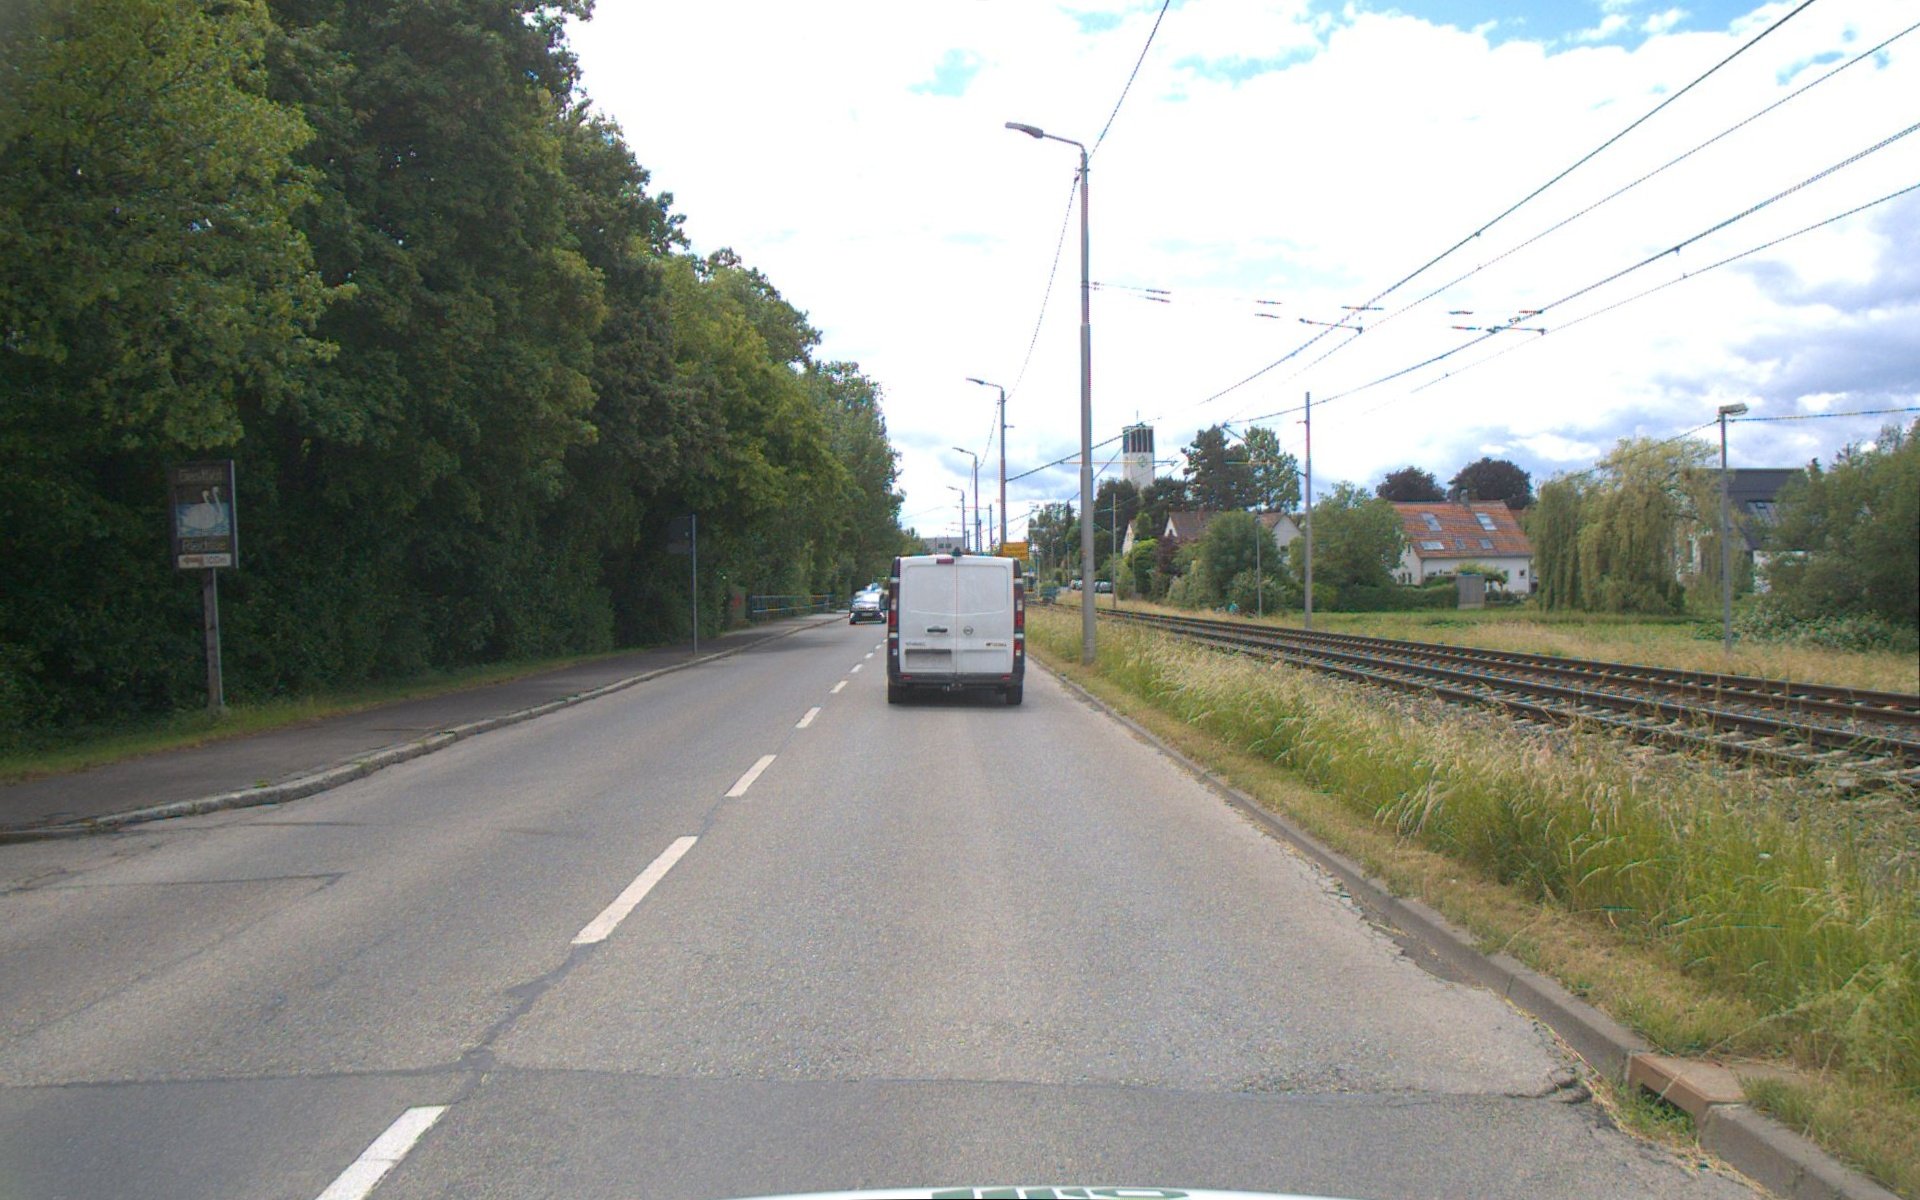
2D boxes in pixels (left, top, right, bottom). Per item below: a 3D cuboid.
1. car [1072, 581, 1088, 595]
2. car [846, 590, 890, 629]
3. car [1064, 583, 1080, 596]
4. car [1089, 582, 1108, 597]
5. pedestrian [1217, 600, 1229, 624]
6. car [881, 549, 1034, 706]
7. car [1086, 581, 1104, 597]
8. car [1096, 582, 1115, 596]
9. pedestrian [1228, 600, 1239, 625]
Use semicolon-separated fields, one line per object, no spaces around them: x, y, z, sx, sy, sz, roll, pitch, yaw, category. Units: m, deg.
18.113;-1.789;249.830;1.953;1.848;3.998;1;-1;-2;car
-4.233;0.431;76.320;1.953;1.747;4.122;-1;0;-3;car
17.407;-1.666;257.418;1.953;1.848;3.998;1;-1;-2;car
18.696;-1.423;223.325;1.953;1.848;3.998;1;-1;-2;car
16.335;0.740;102.774;0.643;1.532;0.656;-1;0;-2;pedestrian
-0.097;0.321;23.077;1.953;1.991;3.999;0;1;-2;car
18.609;-1.497;227.669;1.953;2.049;3.998;1;-1;-2;car
19.135;-1.453;217.296;1.953;1.747;3.998;1;-1;-2;car
16.959;0.748;102.561;0.515;1.532;0.656;-1;0;-2;pedestrian
